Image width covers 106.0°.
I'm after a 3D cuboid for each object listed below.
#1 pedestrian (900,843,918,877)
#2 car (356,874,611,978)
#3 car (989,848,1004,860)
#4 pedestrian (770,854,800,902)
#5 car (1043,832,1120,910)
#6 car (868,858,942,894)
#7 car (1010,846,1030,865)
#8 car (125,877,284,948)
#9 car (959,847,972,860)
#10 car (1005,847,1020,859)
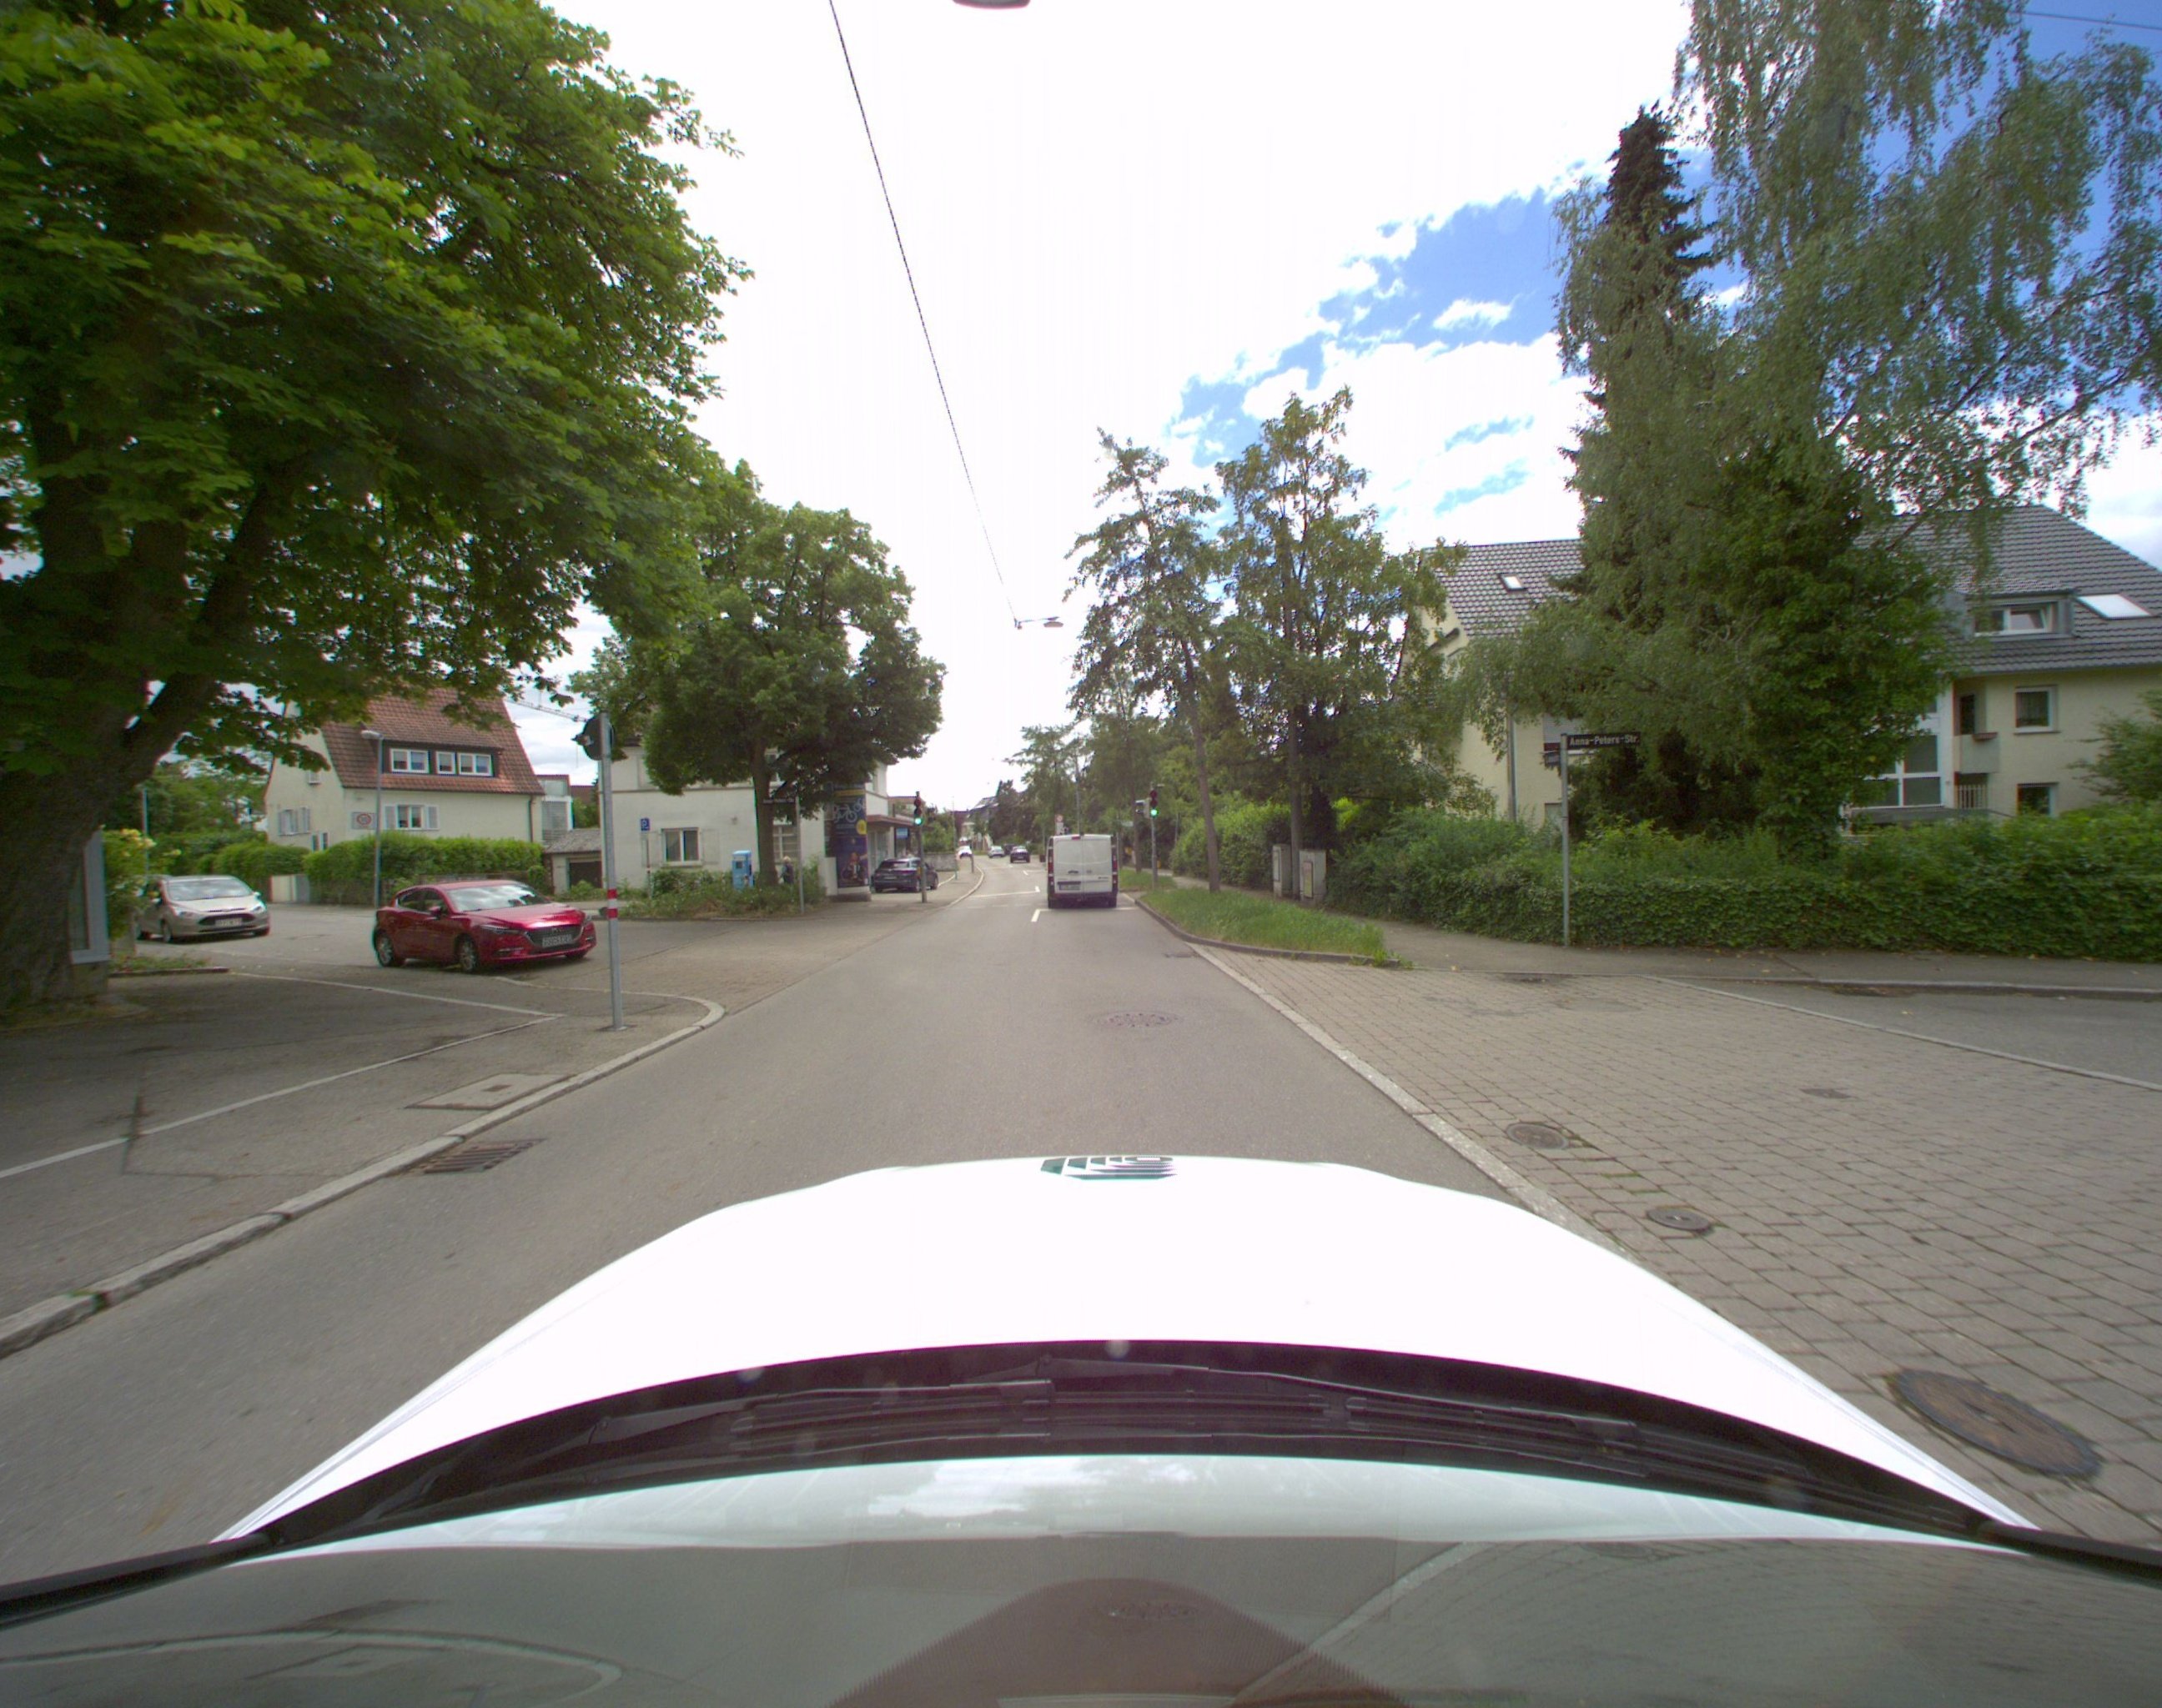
[{"bbox_3d":[-9.048,0.310,42.962,0.882,1.750,0.961,0,0,-9],"label":"pedestrian"},{"bbox_3d":[-10.418,1.171,14.169,4.180,1.432,1.828,-2,3,28],"label":"car"},{"bbox_3d":[-11.943,0.008,115.350,1.825,1.728,3.986,-1,0,-10],"label":"car"},{"bbox_3d":[-10.360,0.841,28.535,0.695,1.616,0.716,-1,1,2],"label":"pedestrian"},{"bbox_3d":[-0.088,0.414,23.162,1.925,1.964,4.397,-1,0,-3],"label":"car"},{"bbox_3d":[-7.516,0.908,35.229,1.770,1.441,4.532,0,0,6],"label":"car"},{"bbox_3d":[-6.076,0.148,81.486,1.893,1.859,4.398,-1,0,-4],"label":"car"},{"bbox_3d":[-22.254,1.408,20.664,3.928,1.489,1.844,-1,3,30],"label":"car"},{"bbox_3d":[-18.507,-0.139,130.095,1.867,1.911,5.100,-4,2,-9],"label":"car"},{"bbox_3d":[-10.407,-0.152,123.112,1.894,1.611,4.484,-1,0,-10],"label":"car"}]
